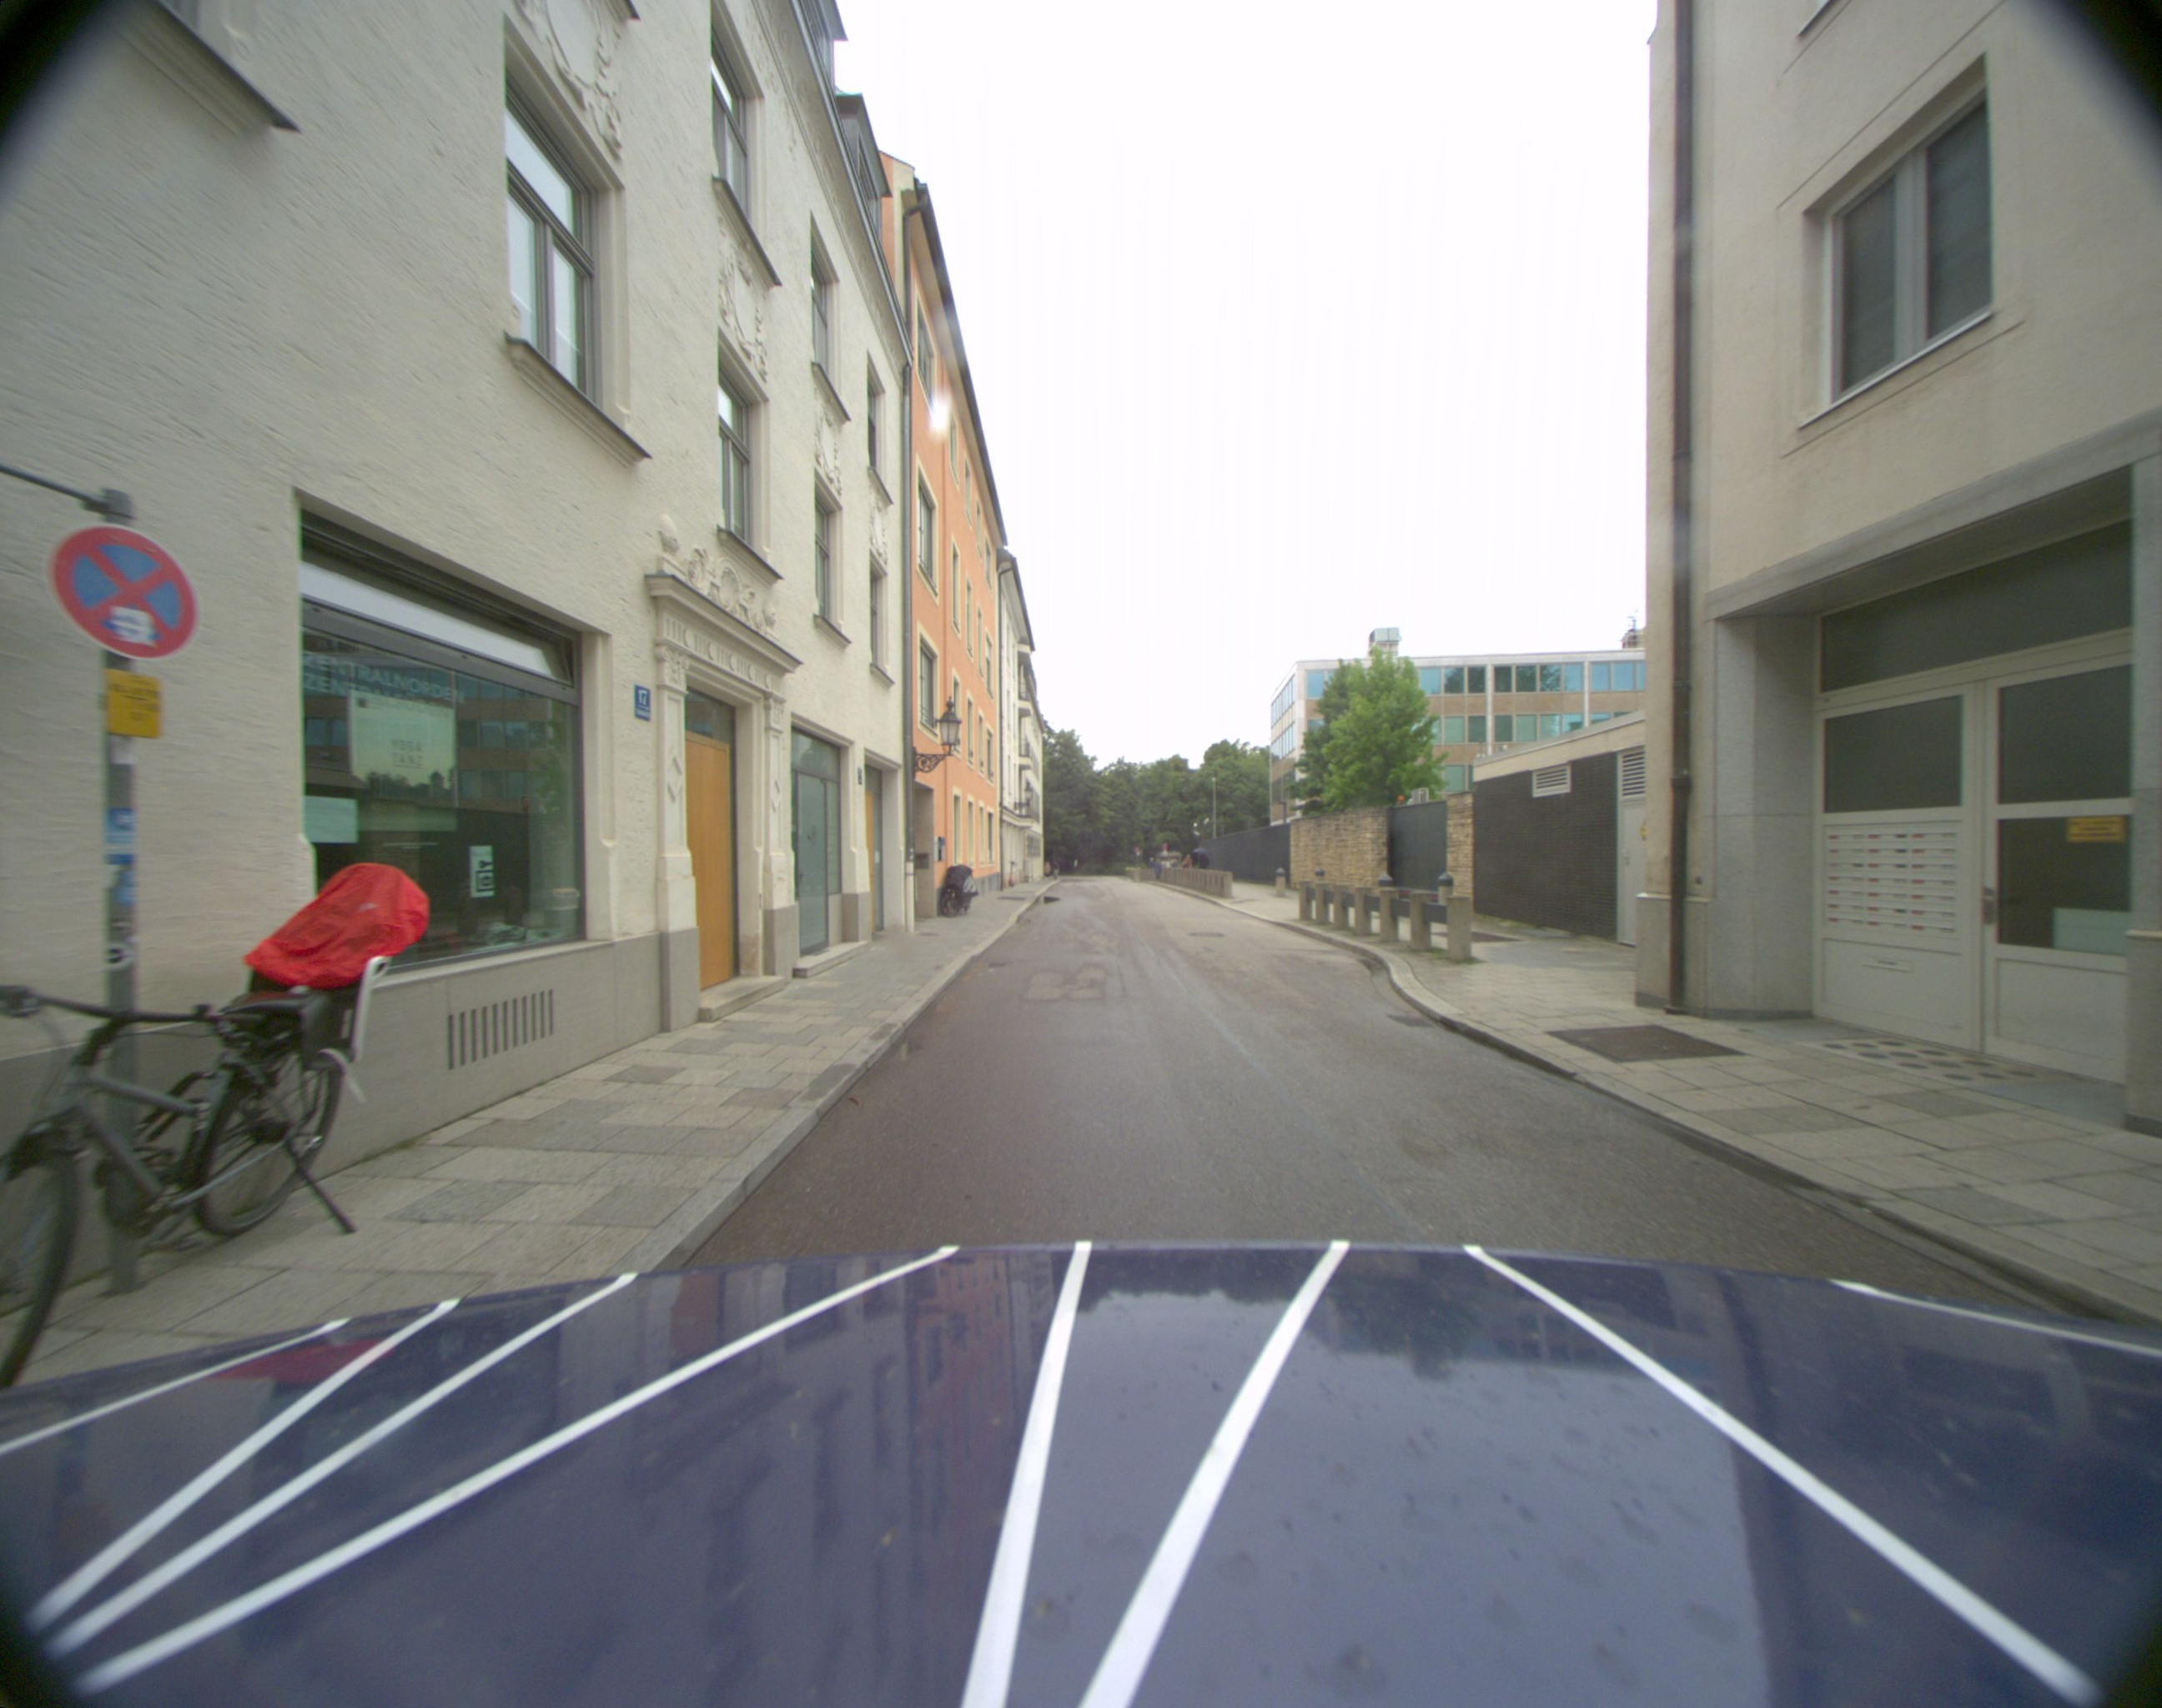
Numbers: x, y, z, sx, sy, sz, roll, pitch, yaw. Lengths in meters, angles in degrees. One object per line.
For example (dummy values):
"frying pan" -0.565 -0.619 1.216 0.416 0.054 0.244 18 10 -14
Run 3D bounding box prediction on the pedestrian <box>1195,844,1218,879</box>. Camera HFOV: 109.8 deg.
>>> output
"pedestrian" 7.656 0.468 46.421 1.226 2.091 1.117 -1 0 2

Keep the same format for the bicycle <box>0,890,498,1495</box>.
"bicycle" -2.959 0.862 2.270 0.715 1.388 2.122 1 0 3

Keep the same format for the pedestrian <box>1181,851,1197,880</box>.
"pedestrian" 6.642 0.701 46.751 0.826 1.713 0.906 -3 0 5

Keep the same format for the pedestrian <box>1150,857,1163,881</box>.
"pedestrian" 4.687 0.907 47.266 0.640 1.458 1.079 -3 0 1

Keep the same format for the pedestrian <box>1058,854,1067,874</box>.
"pedestrian" -1.675 0.903 67.696 0.753 1.725 0.853 -1 0 -1

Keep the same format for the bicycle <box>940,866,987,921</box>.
"bicycle" -2.933 0.953 19.215 0.681 1.233 2.382 3 0 2

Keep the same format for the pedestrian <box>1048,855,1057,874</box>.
"pedestrian" -2.520 0.963 67.692 0.753 1.671 0.656 -1 0 -1

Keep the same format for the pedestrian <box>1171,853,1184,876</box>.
"pedestrian" 6.696 0.716 52.795 0.778 1.531 0.933 -3 0 8

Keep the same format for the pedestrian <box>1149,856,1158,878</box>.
"pedestrian" 5.818 1.050 61.319 0.625 1.758 0.766 -1 0 0

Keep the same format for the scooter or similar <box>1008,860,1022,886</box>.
"scooter or similar" -3.288 0.930 37.895 0.466 1.251 1.275 1 0 -13
